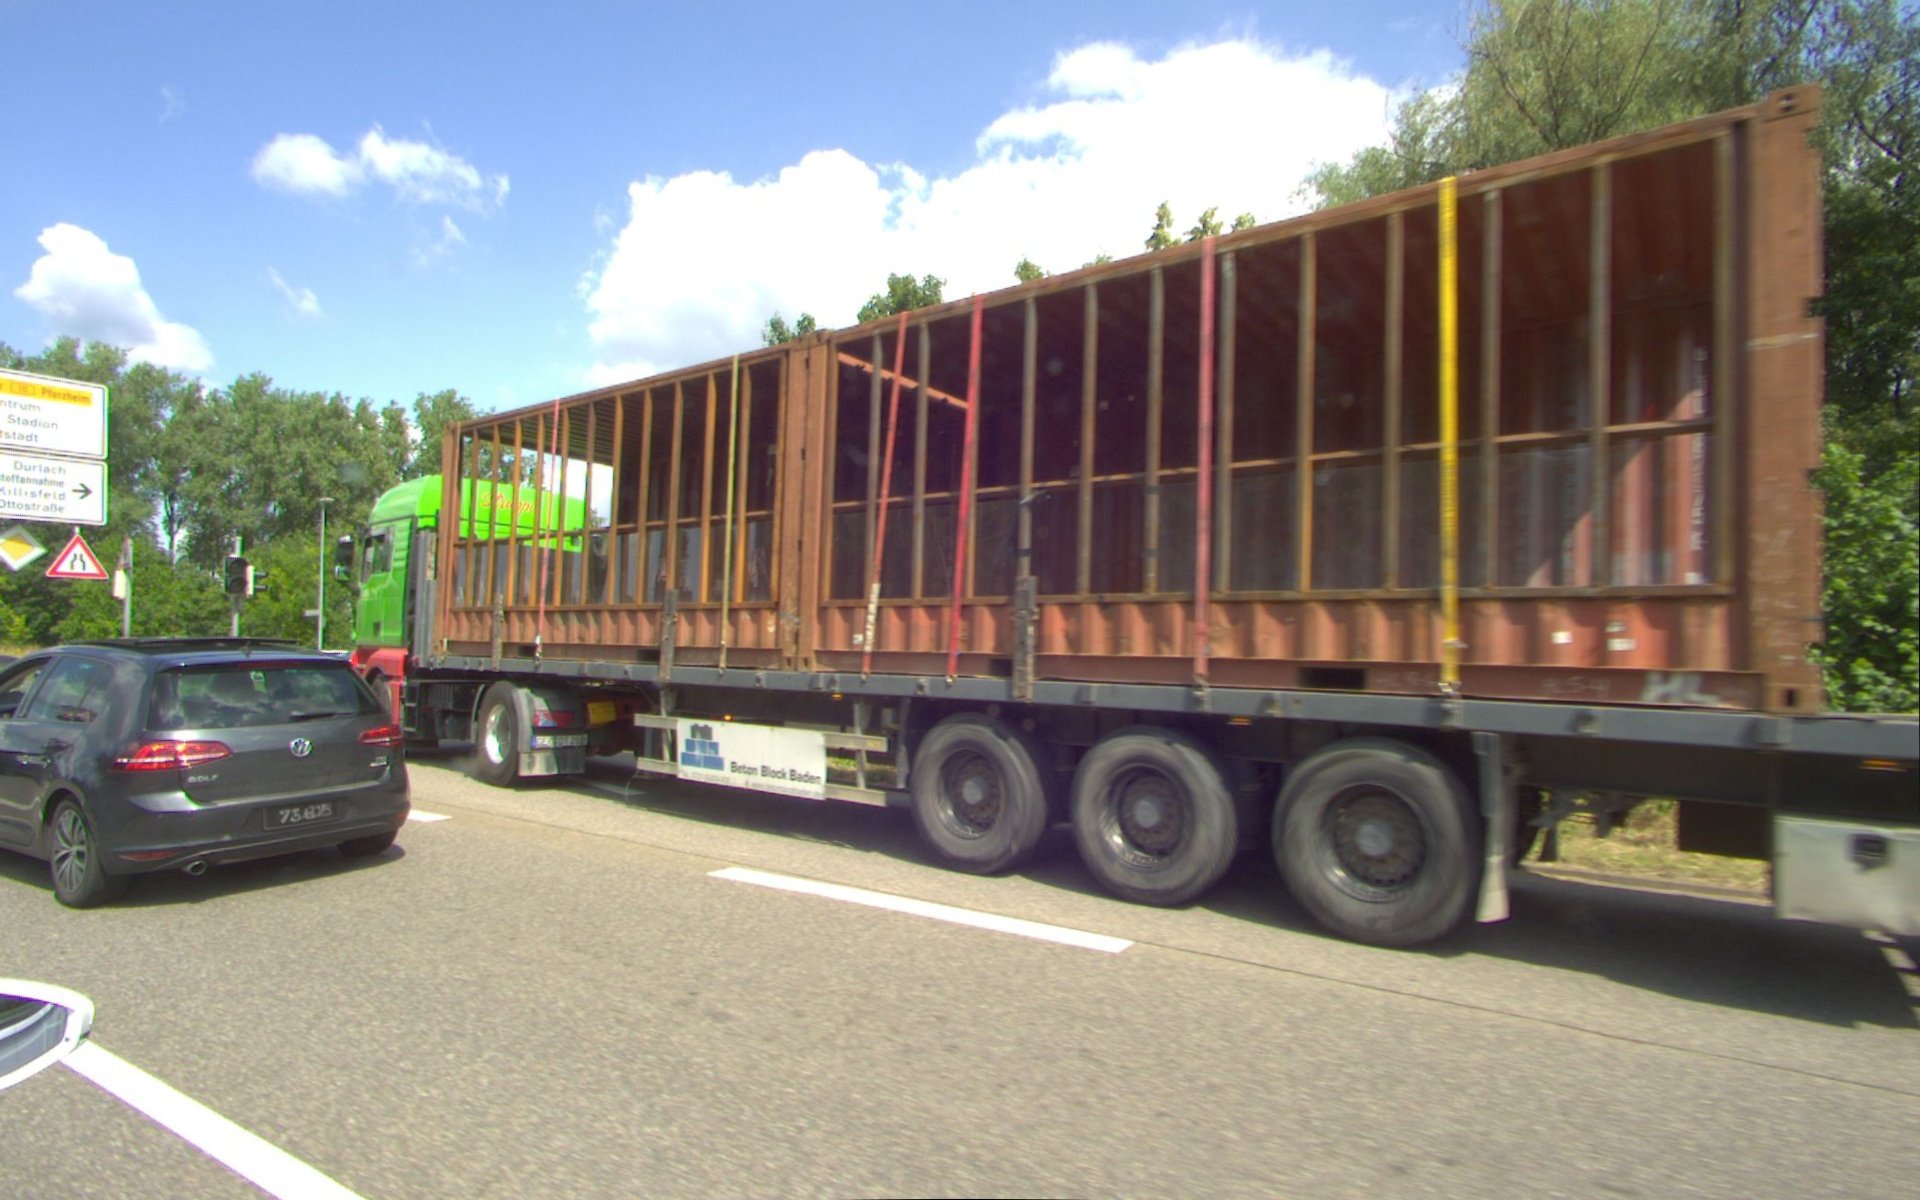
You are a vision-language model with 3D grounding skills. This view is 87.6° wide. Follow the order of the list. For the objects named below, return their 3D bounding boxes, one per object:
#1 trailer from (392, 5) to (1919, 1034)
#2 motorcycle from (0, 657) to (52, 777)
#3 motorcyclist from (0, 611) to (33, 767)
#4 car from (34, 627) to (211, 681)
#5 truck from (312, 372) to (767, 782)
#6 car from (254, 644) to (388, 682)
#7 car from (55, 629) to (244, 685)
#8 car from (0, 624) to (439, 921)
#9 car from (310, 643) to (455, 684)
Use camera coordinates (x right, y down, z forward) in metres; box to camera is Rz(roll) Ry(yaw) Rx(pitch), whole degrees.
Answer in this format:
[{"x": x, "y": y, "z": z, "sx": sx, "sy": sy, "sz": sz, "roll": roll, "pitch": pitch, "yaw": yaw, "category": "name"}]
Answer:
[{"x": -0.271, "y": -0.110, "z": 8.498, "sx": 13.673, "sy": 3.937, "sz": 2.632, "roll": -2, "pitch": -5, "yaw": 38, "category": "trailer"}, {"x": -10.417, "y": 1.174, "z": 10.452, "sx": 2.365, "sy": 1.146, "sz": 0.788, "roll": -1, "pitch": -2, "yaw": 33, "category": "motorcycle"}, {"x": -10.642, "y": 0.931, "z": 10.584, "sx": 1.109, "sy": 1.640, "sz": 0.964, "roll": -1, "pitch": -2, "yaw": 33, "category": "motorcyclist"}, {"x": -28.338, "y": 1.865, "z": 34.016, "sx": 1.810, "sy": 1.665, "sz": 4.201, "roll": 0, "pitch": -4, "yaw": 30, "category": "car"}, {"x": -5.461, "y": -0.043, "z": 12.632, "sx": 5.811, "sy": 3.950, "sz": 2.858, "roll": -2, "pitch": -5, "yaw": 41, "category": "truck"}, {"x": -25.268, "y": 2.515, "z": 39.749, "sx": 1.621, "sy": 1.392, "sz": 4.201, "roll": 0, "pitch": -4, "yaw": 30, "category": "car"}, {"x": -25.650, "y": 1.856, "z": 31.847, "sx": 1.818, "sy": 1.636, "sz": 4.279, "roll": -1, "pitch": -5, "yaw": 30, "category": "car"}, {"x": -5.449, "y": 0.930, "z": 6.721, "sx": 3.813, "sy": 1.497, "sz": 1.641, "roll": -1, "pitch": -2, "yaw": 29, "category": "car"}, {"x": -21.821, "y": 2.435, "z": 38.004, "sx": 1.621, "sy": 1.392, "sz": 4.526, "roll": 0, "pitch": -4, "yaw": 30, "category": "car"}]
